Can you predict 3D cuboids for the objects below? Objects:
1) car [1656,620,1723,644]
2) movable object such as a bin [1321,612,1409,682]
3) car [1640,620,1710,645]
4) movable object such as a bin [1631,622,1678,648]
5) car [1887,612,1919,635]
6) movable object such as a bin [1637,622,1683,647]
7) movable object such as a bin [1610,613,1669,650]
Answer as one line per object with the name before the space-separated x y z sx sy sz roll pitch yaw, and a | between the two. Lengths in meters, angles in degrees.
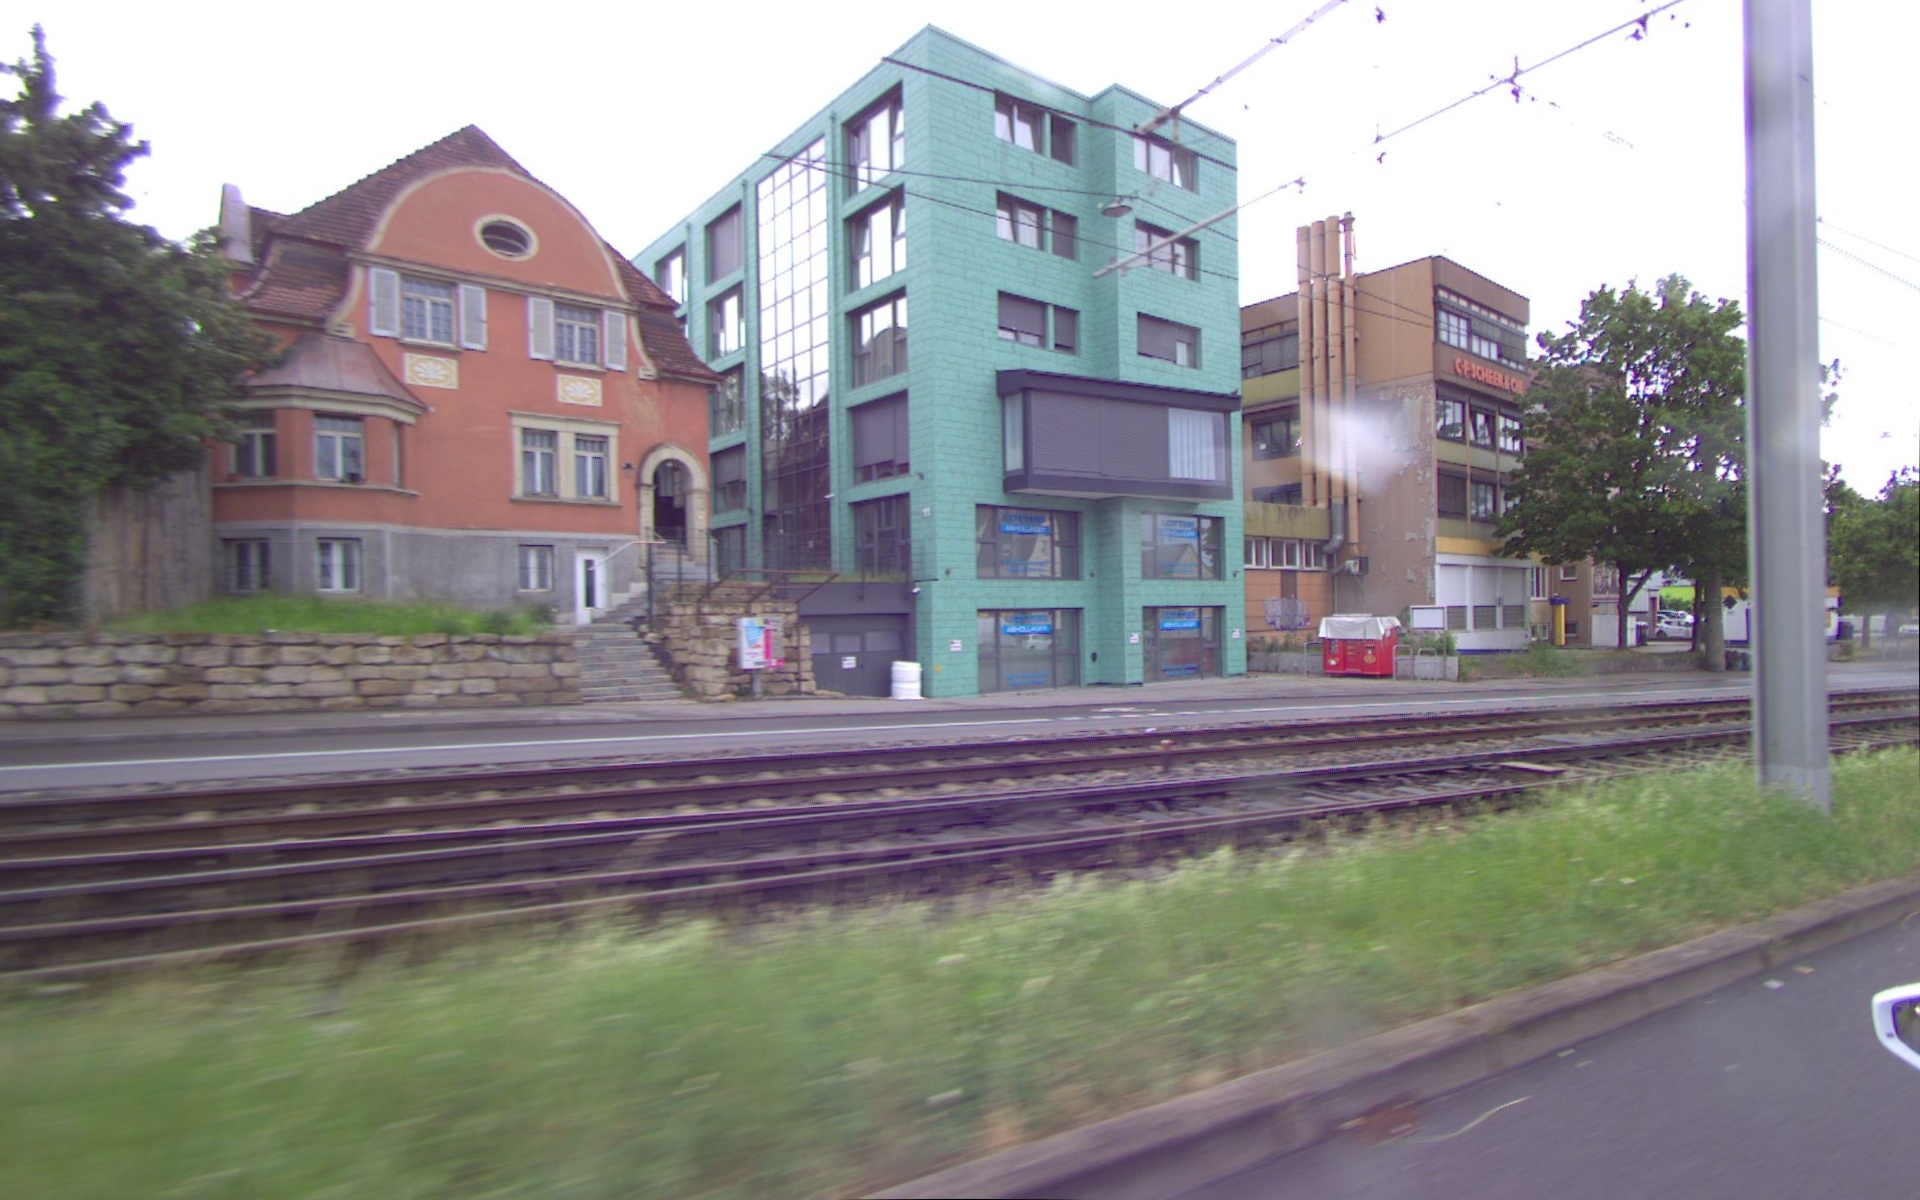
car | 51.192 2.244 70.525 3.714 1.499 1.570 2 1 35
movable object such as a bin | 13.667 1.540 33.925 1.786 2.186 2.117 -1 2 -38
car | 47.349 2.153 66.617 3.714 1.473 1.547 2 1 35
movable object such as a bin | 41.436 2.061 59.922 1.557 1.394 1.976 -1 2 -41
car | 64.259 1.569 67.452 3.956 1.461 1.982 1 0 -32
movable object such as a bin | 42.634 2.090 61.198 1.557 1.394 1.976 -1 2 -41
movable object such as a bin | 39.208 1.794 57.918 3.543 1.945 1.976 -1 2 -41
